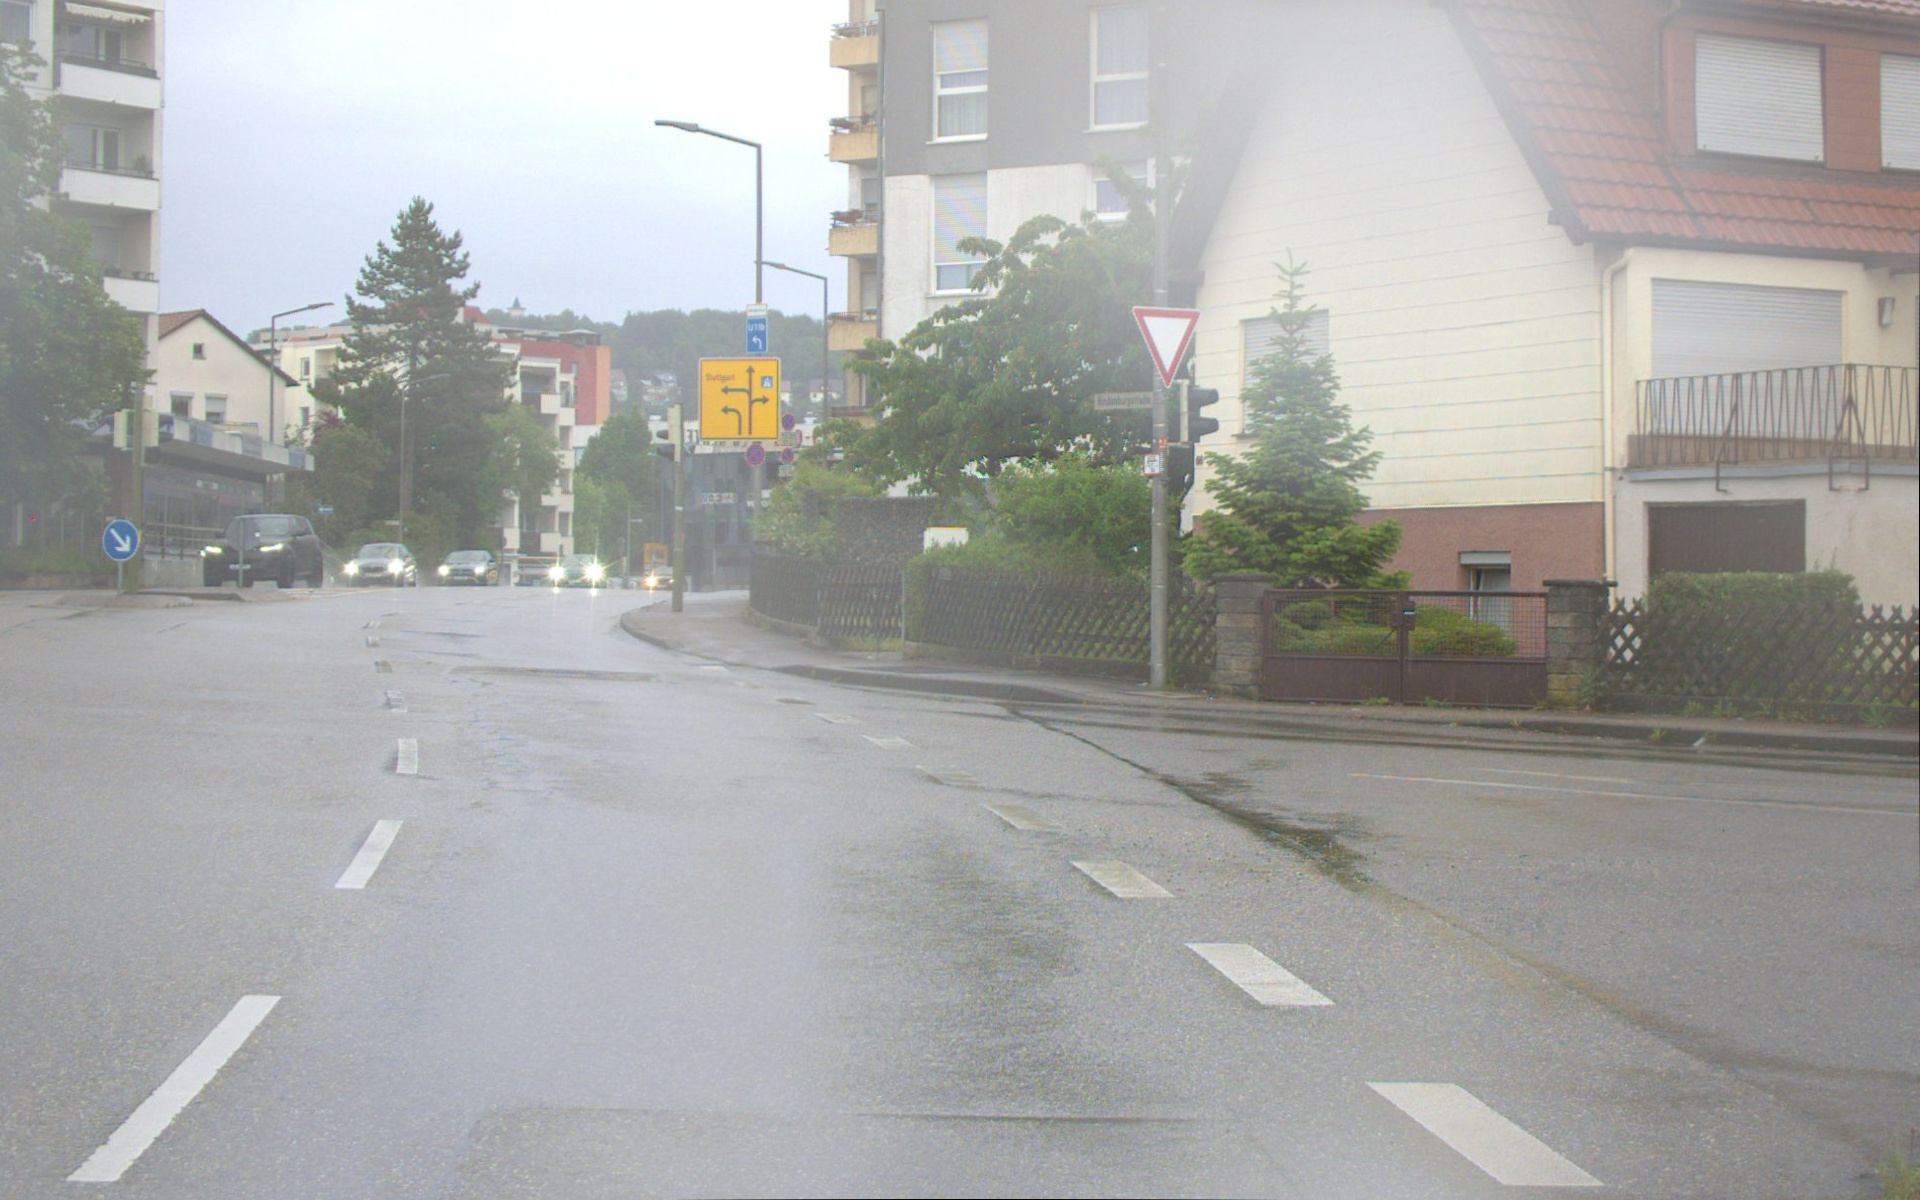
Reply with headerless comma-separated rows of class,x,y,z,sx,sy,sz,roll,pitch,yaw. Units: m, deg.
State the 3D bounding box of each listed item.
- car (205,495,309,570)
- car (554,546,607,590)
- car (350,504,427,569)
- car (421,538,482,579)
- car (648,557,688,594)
car,-16.899,-1.608,82.832,1.993,1.731,5.182,1,1,-7
car,-14.921,-1.247,135.295,1.993,1.673,4.001,1,1,-5
car,-17.472,-1.931,105.275,1.993,1.897,4.001,1,1,-5
car,-18.745,-1.534,126.821,1.993,1.458,4.001,1,1,-5
car,-14.887,-1.262,175.406,1.993,1.805,4.001,1,1,-5
